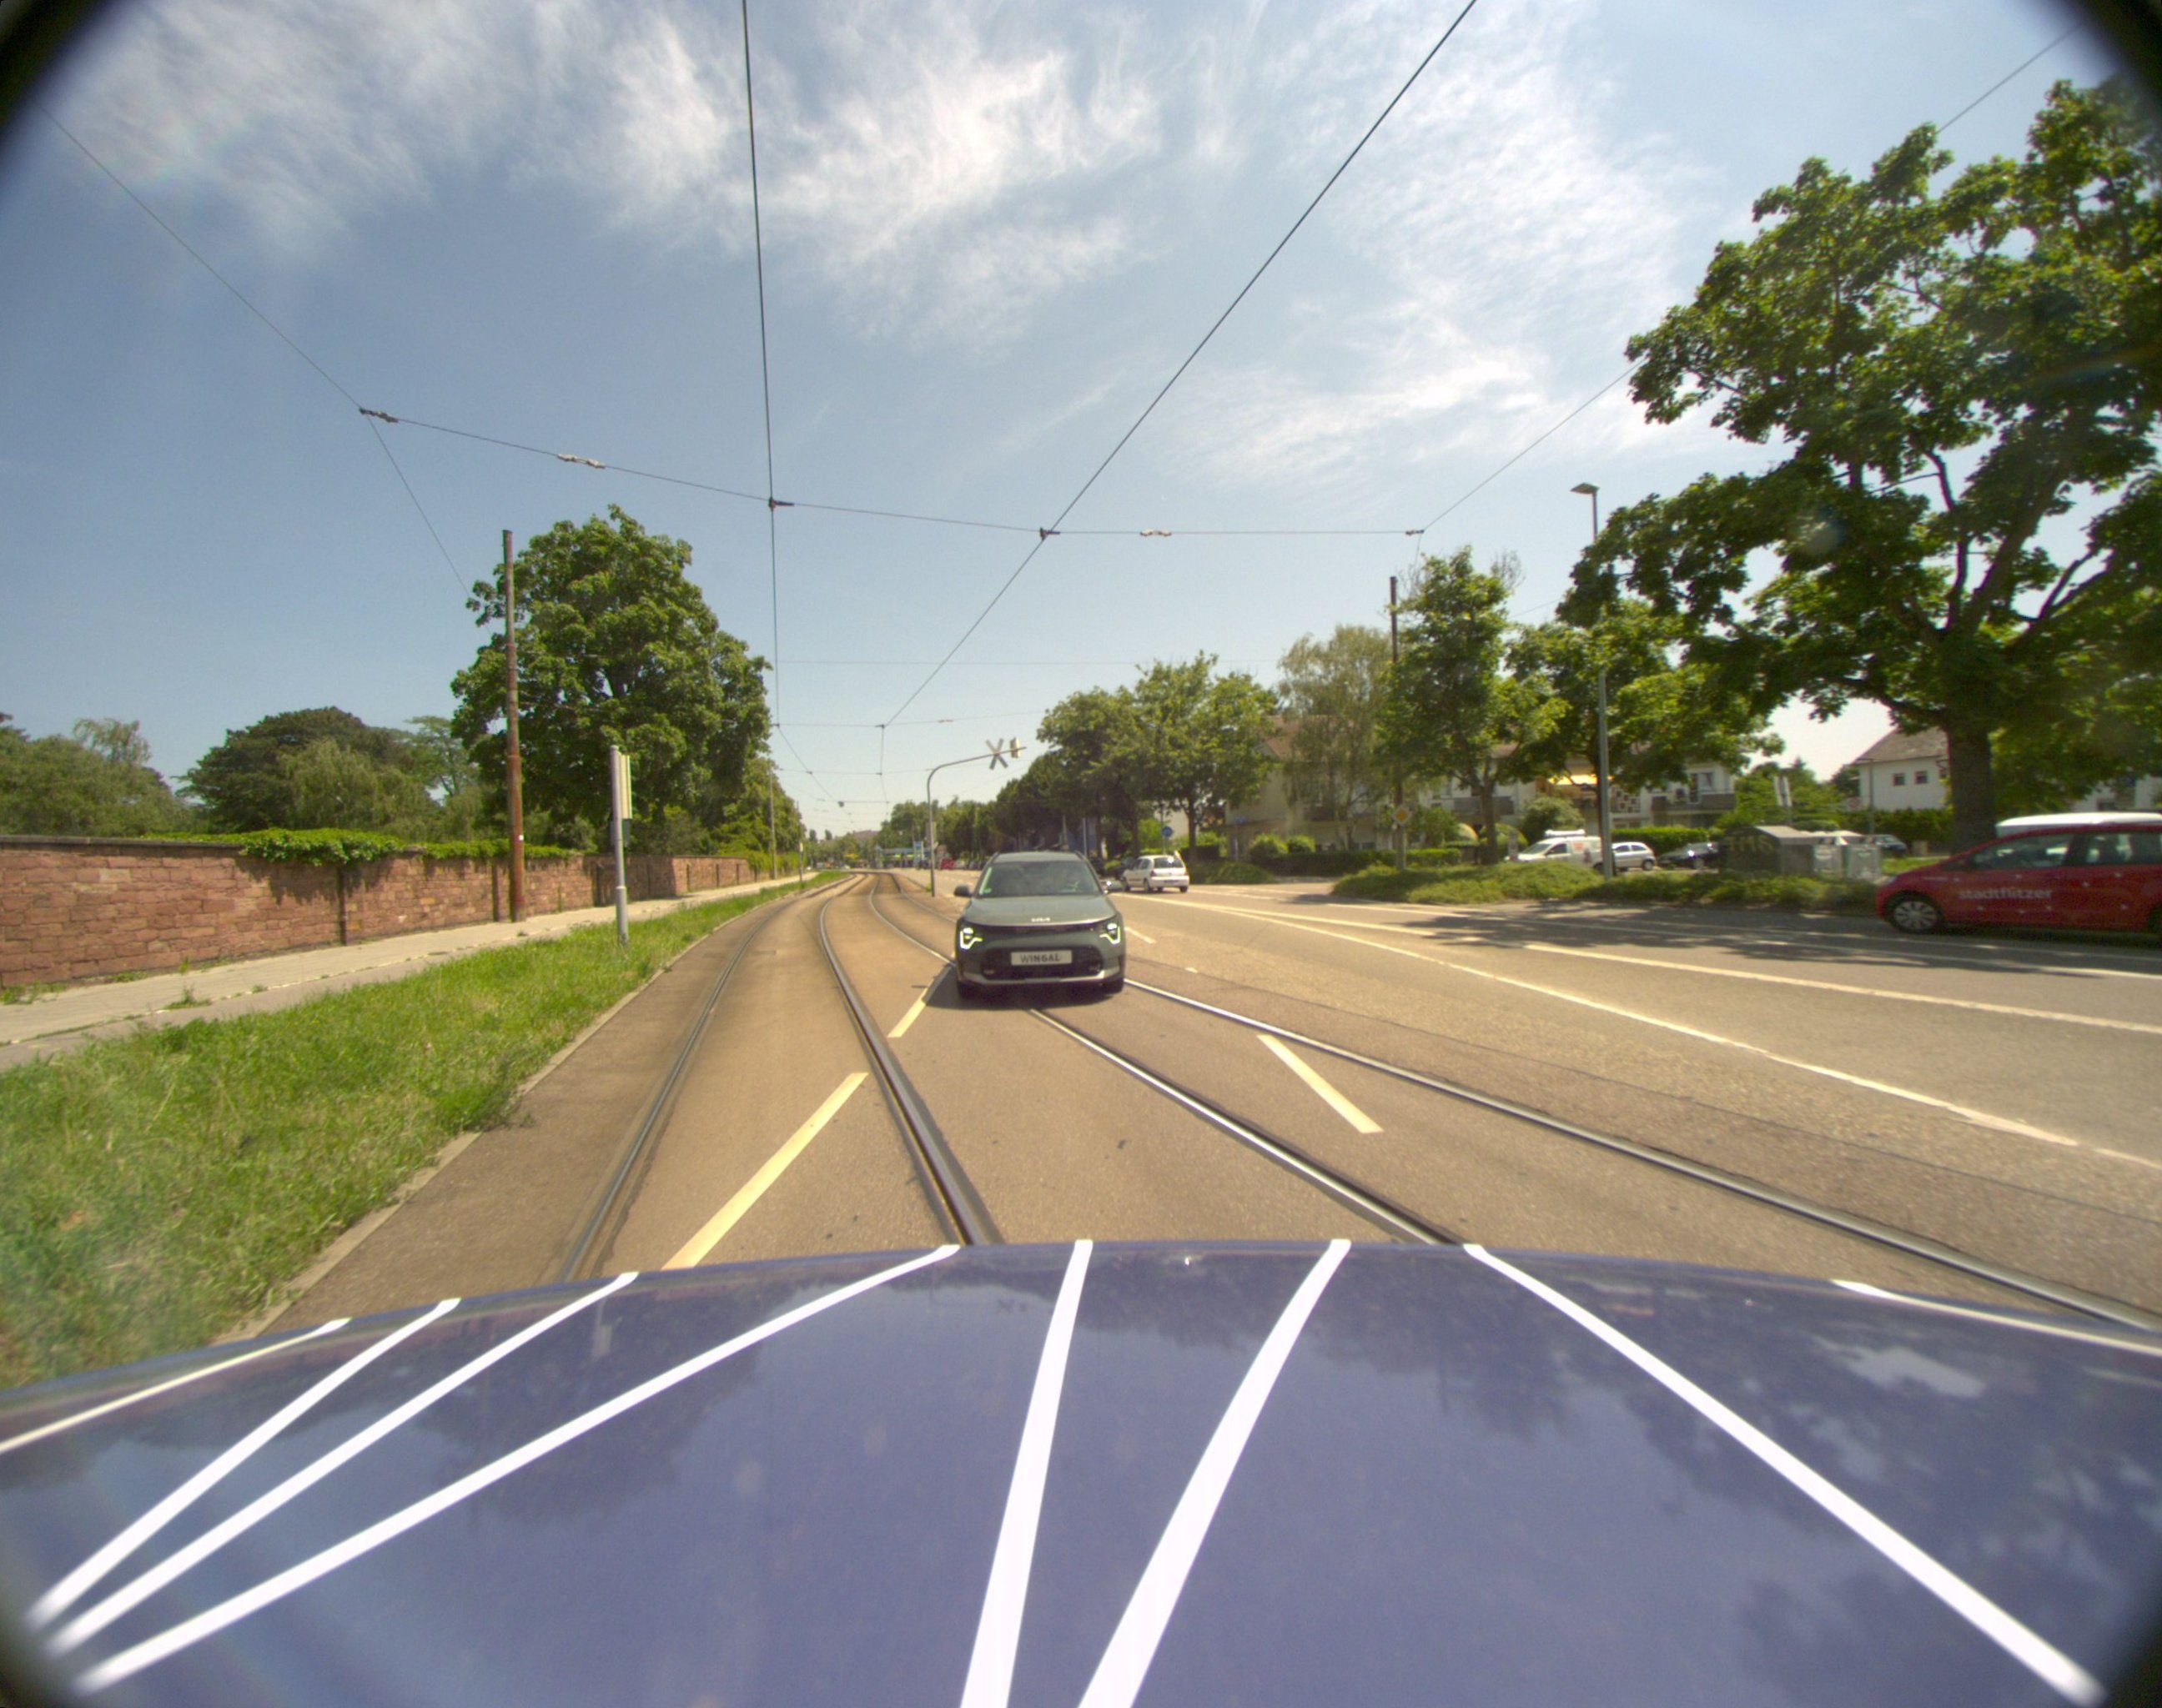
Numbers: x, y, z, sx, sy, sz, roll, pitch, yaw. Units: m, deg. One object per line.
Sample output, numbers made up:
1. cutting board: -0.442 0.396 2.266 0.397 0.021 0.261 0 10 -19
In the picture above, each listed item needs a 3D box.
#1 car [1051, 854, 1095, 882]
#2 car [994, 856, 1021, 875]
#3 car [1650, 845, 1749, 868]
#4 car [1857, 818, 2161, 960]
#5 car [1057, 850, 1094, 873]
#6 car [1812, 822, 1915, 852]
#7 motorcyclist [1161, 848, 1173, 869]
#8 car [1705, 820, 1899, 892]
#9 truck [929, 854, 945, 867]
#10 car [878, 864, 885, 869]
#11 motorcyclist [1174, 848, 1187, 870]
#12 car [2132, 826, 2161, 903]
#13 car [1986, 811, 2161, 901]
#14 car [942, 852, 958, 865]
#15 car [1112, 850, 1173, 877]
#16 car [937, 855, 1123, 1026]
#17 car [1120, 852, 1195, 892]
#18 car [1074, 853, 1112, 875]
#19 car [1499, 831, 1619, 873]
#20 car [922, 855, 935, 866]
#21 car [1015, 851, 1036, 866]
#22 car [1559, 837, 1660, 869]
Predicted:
1. car: -0.544 0.814 44.994 1.744 1.566 3.708 -1 0 -14
2. car: -6.538 0.985 67.172 1.744 1.647 4.061 -1 0 -14
3. car: 30.364 0.095 37.377 3.748 0.986 1.545 -2 0 -5
4. car: 12.682 0.368 9.569 1.677 1.537 3.722 -3 1 -12
5. car: -0.519 0.617 61.787 1.978 1.679 4.682 -3 0 -13
6. car: 39.566 -0.844 38.462 3.906 1.385 1.545 -2 0 -6
7. motorcyclist: 6.284 0.315 55.572 0.588 1.494 0.724 -5 1 -13
8. car: 20.711 0.029 21.874 4.465 1.846 2.058 -2 0 -16
9. truck: -30.311 1.372 160.100 2.137 2.566 4.855 -6 1 -23
10. car: -60.412 3.782 229.577 1.867 1.487 3.466 -6 1 -16
11. motorcyclist: 6.916 0.374 52.996 0.588 1.494 0.661 -5 1 -13
12. car: 21.957 0.117 13.862 4.213 1.395 2.078 -2 0 -18
13. car: 23.122 -0.001 17.179 4.282 1.825 1.671 -2 0 -13
14. car: -19.762 0.668 114.800 1.906 1.914 4.813 0 0 -16
15. car: 3.620 0.582 45.698 1.901 1.448 4.803 -3 0 -17
16. car: -0.396 0.844 9.542 1.758 1.574 4.427 -2 0 3
17. car: 2.875 0.658 29.445 1.654 1.368 3.806 -2 0 -14
18. car: 0.824 0.713 56.647 1.682 1.478 4.123 -3 0 -15
19. car: 21.233 -0.072 33.867 4.233 1.697 1.741 -2 1 -1
20. car: -28.001 1.244 139.459 1.925 1.899 4.565 -1 0 -15
21. car: -6.161 0.533 83.495 1.507 1.487 3.278 -7 1 -16
22. car: 25.673 -0.054 36.963 3.906 1.385 1.545 -2 0 -6
